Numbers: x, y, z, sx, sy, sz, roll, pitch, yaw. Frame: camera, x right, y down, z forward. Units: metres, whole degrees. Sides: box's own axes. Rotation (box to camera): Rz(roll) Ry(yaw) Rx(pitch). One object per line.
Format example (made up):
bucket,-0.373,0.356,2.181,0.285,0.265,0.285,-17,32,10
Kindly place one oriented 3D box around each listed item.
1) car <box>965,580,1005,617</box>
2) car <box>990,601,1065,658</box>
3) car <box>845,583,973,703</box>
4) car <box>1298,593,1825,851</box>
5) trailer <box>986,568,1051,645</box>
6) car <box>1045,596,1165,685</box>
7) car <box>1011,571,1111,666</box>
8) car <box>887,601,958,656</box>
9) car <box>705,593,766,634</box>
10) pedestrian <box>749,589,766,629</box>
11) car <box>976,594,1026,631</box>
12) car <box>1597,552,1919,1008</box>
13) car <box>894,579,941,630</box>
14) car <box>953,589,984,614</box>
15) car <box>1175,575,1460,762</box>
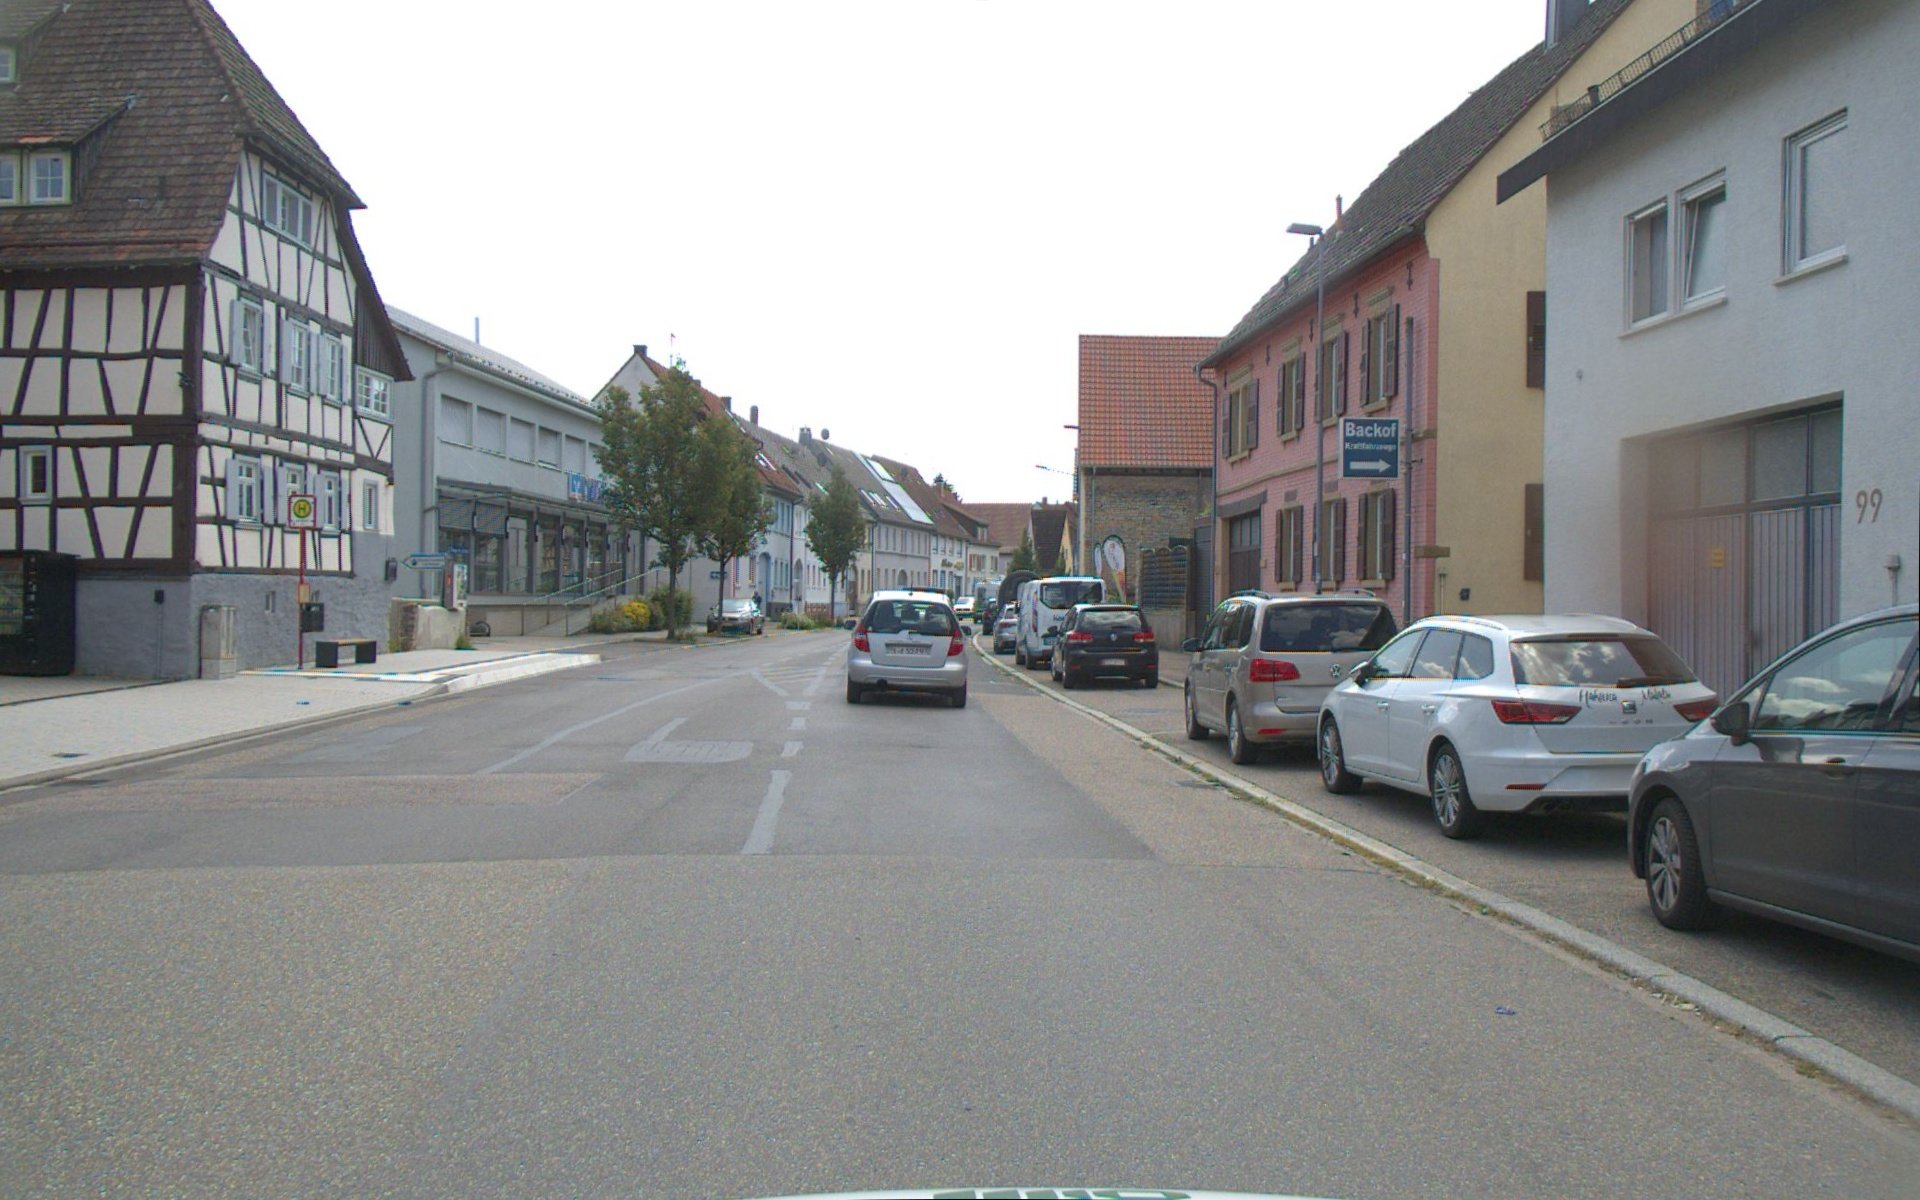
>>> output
car,1.632,-0.092,105.039,2.188,2.261,4.002,0,-1,6
car,1.911,0.825,48.051,1.837,1.507,4.673,2,0,-2
car,-0.821,0.618,24.985,1.734,1.622,3.997,2,-1,-3
car,4.111,0.747,12.208,1.955,1.544,4.366,1,0,-6
trailer,1.851,0.210,53.413,1.808,2.395,3.587,0,0,-2
car,2.621,0.712,30.744,1.739,1.521,4.160,1,0,-2
car,2.289,0.406,38.606,1.854,2.017,4.929,-1,0,-2
car,-1.115,0.794,47.435,1.906,1.432,3.998,2,0,-2
car,-8.875,0.521,65.667,1.767,1.486,4.158,2,0,1
pedestrian,-9.368,0.439,76.460,0.724,1.833,0.642,0,-1,-1
car,1.773,0.531,72.482,1.953,1.586,3.998,0,0,-2
car,4.266,0.660,6.574,1.629,1.653,4.269,1,0,-3
car,-1.719,0.214,68.403,1.733,1.920,4.446,3,-1,0
car,0.606,0.124,118.399,1.952,1.780,4.002,0,-1,4
car,3.586,0.641,17.436,1.953,1.710,4.321,1,0,-2
